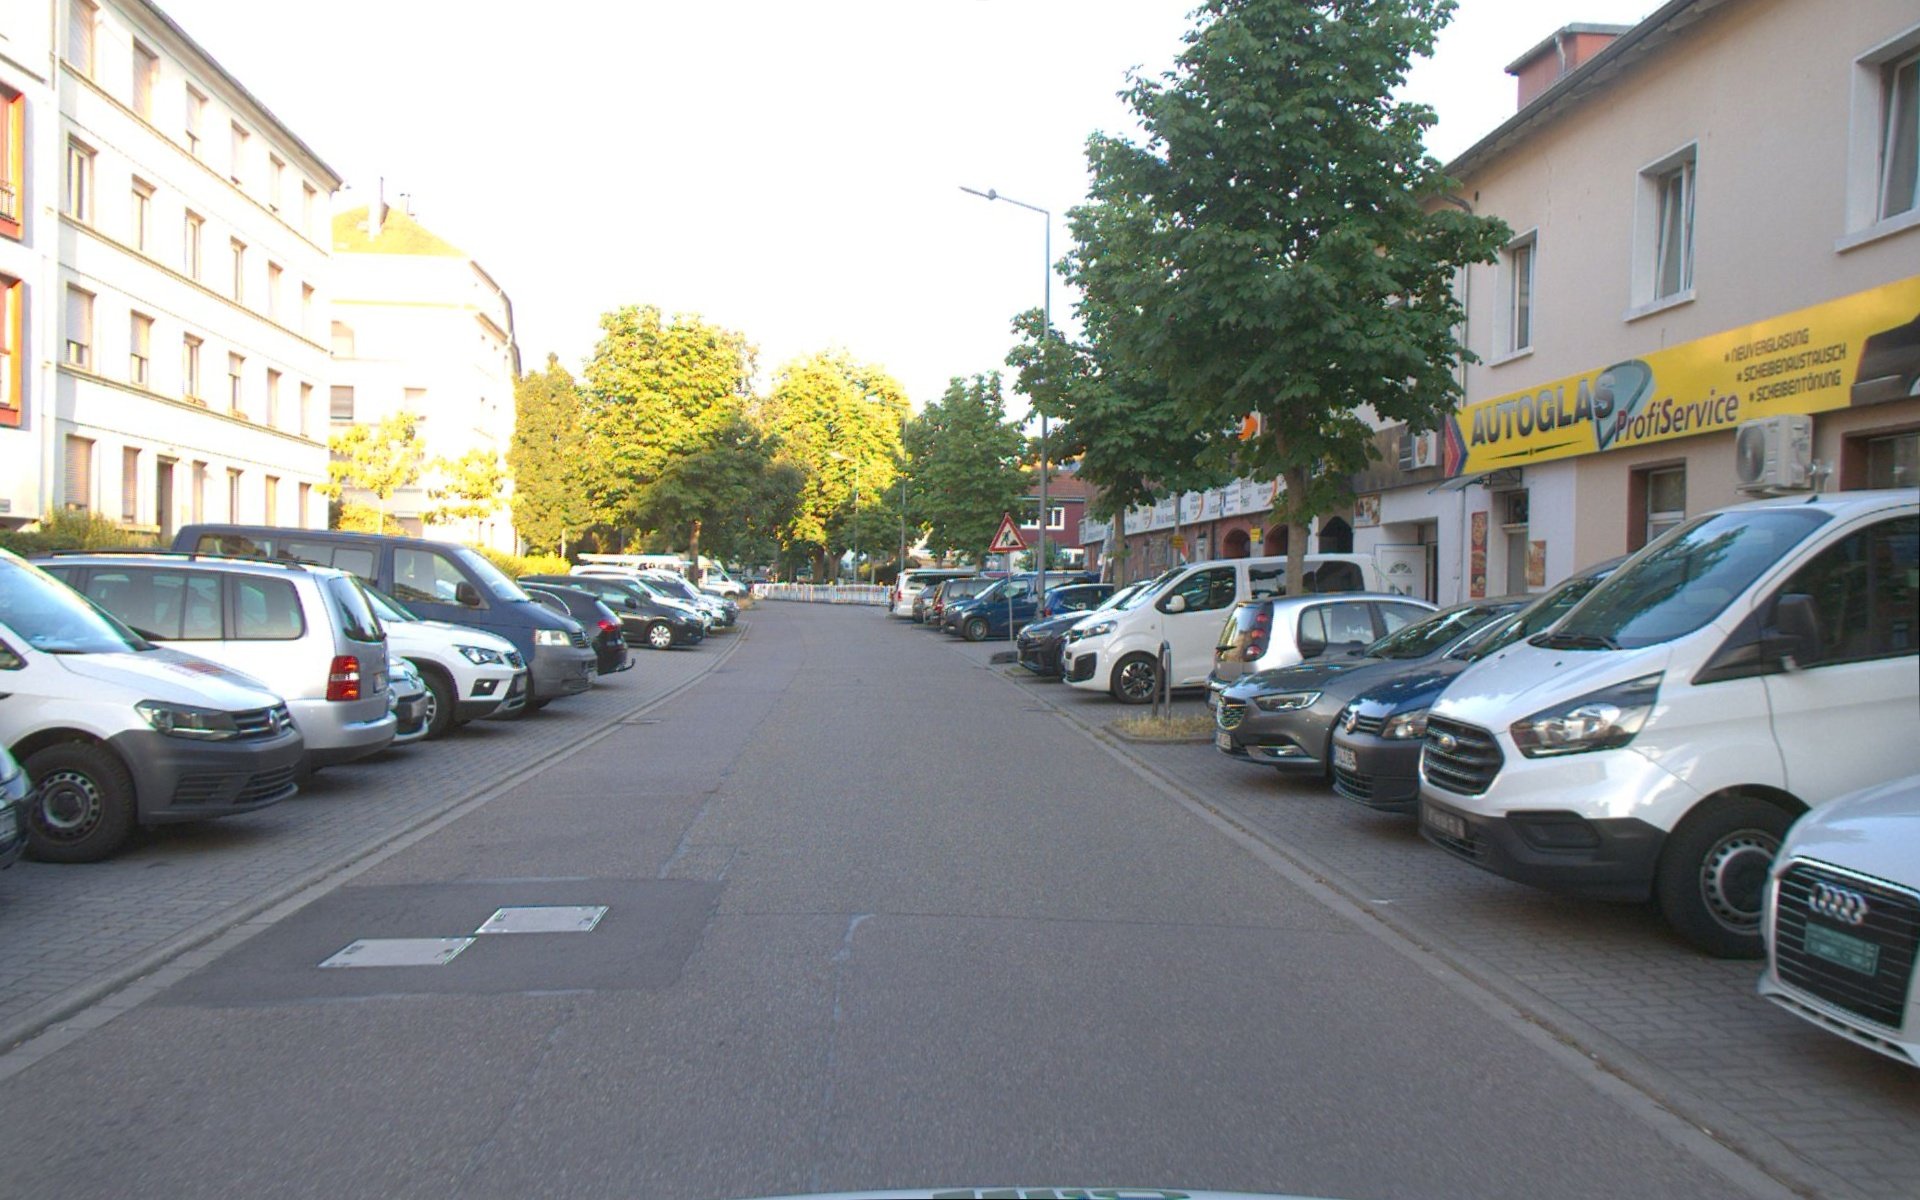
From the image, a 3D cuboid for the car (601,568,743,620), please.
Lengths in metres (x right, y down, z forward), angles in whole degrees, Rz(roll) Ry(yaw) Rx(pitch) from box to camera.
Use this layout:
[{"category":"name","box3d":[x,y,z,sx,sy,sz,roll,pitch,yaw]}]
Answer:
[{"category":"car","box3d":[-9.182,-0.187,53.066,4.241,1.430,1.850,3,0,-4]}]

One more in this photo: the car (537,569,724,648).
[{"category":"car","box3d":[-7.852,0.188,39.749,4.161,1.649,1.811,3,1,-5]}]

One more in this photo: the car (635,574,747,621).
[{"category":"car","box3d":[-9.290,-0.098,57.248,3.640,1.532,1.688,1,0,-4]}]

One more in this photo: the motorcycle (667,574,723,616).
[{"category":"motorcycle","box3d":[-9.454,-0.176,59.013,1.950,1.461,0.720,1,0,-11]}]

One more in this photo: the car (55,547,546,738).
[{"category":"car","box3d":[-6.376,0.399,16.400,4.102,1.753,1.900,1,0,-4]}]

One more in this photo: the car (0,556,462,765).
[{"category":"car","box3d":[-6.430,0.477,14.049,3.909,1.646,1.795,1,0,-5]}]

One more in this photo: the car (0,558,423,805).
[{"category":"car","box3d":[-6.025,0.519,11.887,3.917,1.616,2.047,0,1,-13]}]

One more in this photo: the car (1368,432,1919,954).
[{"category":"car","box3d":[4.667,0.424,7.972,4.859,2.138,2.151,1,-1,0]}]

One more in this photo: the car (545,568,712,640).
[{"category":"car","box3d":[-8.416,0.100,42.266,3.911,1.510,1.753,4,0,-6]}]

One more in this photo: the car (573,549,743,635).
[{"category":"car","box3d":[-8.576,-0.241,47.319,4.422,2.106,2.000,4,1,-2]}]

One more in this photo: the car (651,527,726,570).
[{"category":"car","box3d":[-16.787,-3.151,102.034,4.424,2.473,1.994,1,0,-13]}]

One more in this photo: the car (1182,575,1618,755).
[{"category":"car","box3d":[4.178,0.579,16.009,3.712,1.522,1.679,-2,1,-6]}]

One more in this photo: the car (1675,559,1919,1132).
[{"category":"car","box3d":[4.624,0.733,5.255,3.953,1.593,1.720,2,0,-4]}]

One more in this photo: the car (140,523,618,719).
[{"category":"car","box3d":[-6.512,0.232,18.982,4.756,2.090,2.000,1,0,-1]}]

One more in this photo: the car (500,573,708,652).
[{"category":"car","box3d":[-7.913,0.270,37.079,4.325,1.477,1.825,3,0,-7]}]

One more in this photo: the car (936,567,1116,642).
[{"category":"car","box3d":[1.795,0.093,45.767,4.695,1.784,2.015,-3,2,-6]}]

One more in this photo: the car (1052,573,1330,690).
[{"category":"car","box3d":[3.495,0.461,25.547,3.908,1.522,1.891,-3,1,-3]}]

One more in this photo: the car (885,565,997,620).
[{"category":"car","box3d":[-0.732,-0.285,60.879,3.911,1.937,1.997,1,0,-7]}]

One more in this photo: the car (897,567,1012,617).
[{"category":"car","box3d":[-0.227,-0.314,63.516,4.218,1.830,1.902,1,0,-6]}]

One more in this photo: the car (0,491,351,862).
[{"category":"car","box3d":[-5.881,0.380,9.468,4.095,1.929,1.896,1,0,-4]}]

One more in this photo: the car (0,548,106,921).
[{"category":"car","box3d":[-5.796,0.521,6.942,3.462,1.590,1.782,2,0,-6]}]

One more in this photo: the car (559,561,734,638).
[{"category":"car","box3d":[-8.410,-0.026,44.675,4.334,1.833,1.942,3,1,-3]}]

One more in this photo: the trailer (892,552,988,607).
[{"category":"trailer","box3d":[-0.879,-0.886,70.320,3.910,2.226,1.998,1,0,-6]}]

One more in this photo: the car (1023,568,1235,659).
[{"category":"car","box3d":[3.342,0.250,33.207,3.910,1.572,1.843,-3,1,-5]}]

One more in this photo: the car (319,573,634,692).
[{"category":"car","box3d":[-6.840,0.450,23.781,4.062,1.440,1.735,3,0,-9]}]

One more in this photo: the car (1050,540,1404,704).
[{"category":"car","box3d":[3.654,0.278,23.228,4.496,1.894,2.011,-4,1,-3]}]

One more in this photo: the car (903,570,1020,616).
[{"category":"car","box3d":[0.039,-0.247,57.919,3.910,1.536,1.774,1,0,-6]}]

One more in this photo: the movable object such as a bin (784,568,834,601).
[{"category":"movable object such as a bin","box3d":[-11.687,-1.183,127.894,2.589,2.444,5.167,1,0,-20]}]

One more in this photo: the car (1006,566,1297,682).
[{"category":"car","box3d":[3.194,0.370,28.200,4.602,1.659,1.999,-3,1,-3]}]

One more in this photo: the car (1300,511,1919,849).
[{"category":"car","box3d":[4.517,0.436,10.661,4.205,1.890,2.000,-1,1,-1]}]

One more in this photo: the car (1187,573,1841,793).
[{"category":"car","box3d":[4.352,0.598,13.447,4.629,1.522,1.998,-1,1,-5]}]

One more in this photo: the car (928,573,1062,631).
[{"category":"car","box3d":[1.054,0.045,51.105,3.911,1.647,1.892,-2,1,-7]}]

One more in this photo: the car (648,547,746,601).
[{"category":"car","box3d":[-13.192,-1.290,83.176,4.638,2.614,1.998,1,0,-4]}]
